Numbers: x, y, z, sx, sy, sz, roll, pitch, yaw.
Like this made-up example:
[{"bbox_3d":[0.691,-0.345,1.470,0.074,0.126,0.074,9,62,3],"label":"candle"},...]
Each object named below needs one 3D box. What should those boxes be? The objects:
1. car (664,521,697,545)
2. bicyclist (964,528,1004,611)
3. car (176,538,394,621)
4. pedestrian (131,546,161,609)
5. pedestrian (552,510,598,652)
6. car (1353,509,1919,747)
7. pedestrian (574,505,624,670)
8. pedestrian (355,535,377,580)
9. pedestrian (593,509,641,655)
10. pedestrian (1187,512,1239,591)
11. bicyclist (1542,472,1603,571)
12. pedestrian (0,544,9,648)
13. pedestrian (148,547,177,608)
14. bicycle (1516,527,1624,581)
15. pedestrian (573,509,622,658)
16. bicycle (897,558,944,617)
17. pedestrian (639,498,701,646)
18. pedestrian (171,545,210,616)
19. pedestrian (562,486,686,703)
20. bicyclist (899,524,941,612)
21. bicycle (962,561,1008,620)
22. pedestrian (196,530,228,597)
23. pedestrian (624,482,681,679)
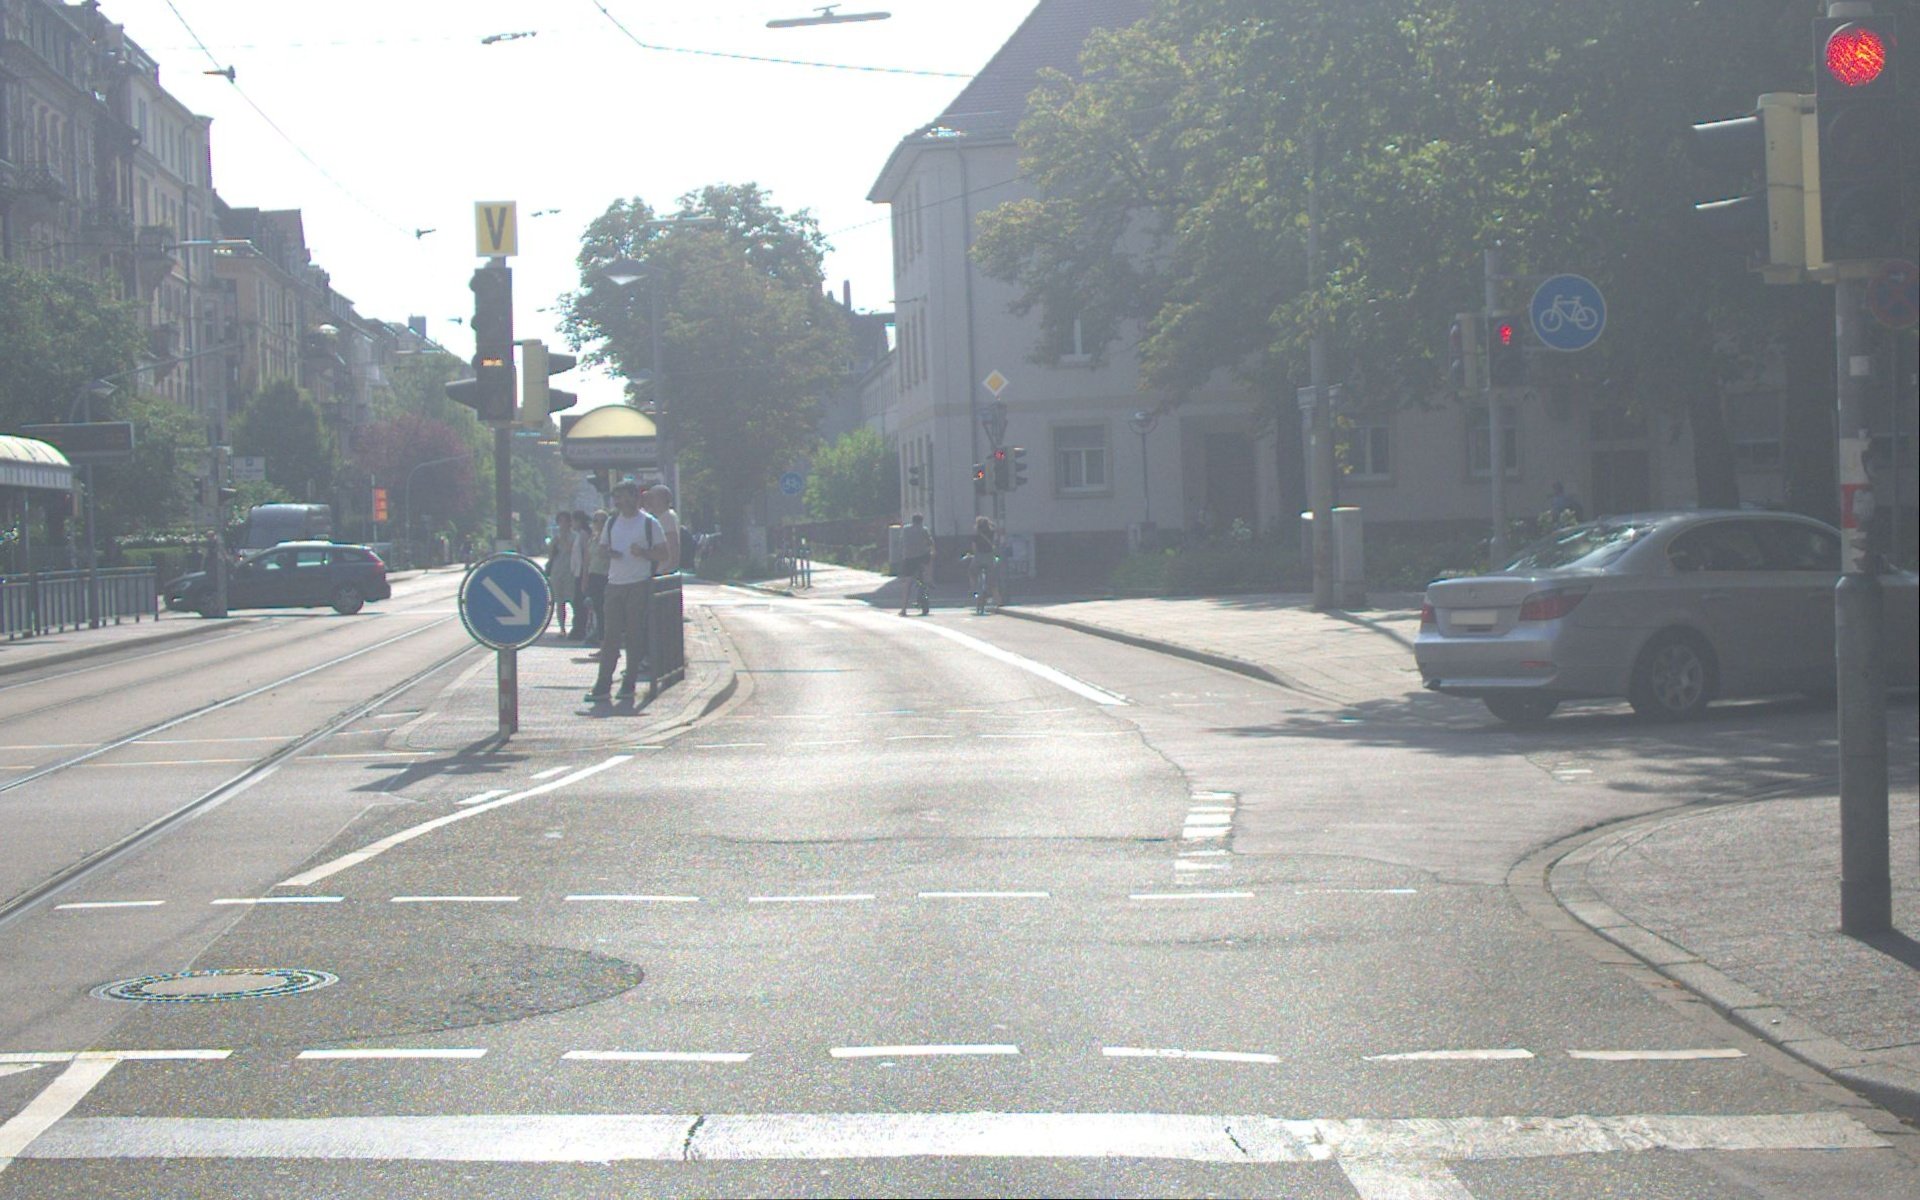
[{"bbox_3d":[-21.074,-5.040,259.426,1.994,1.777,4.000,-1,1,3],"label":"car"},{"bbox_3d":[0.408,-0.534,59.451,0.558,1.412,0.872,-2,1,-6],"label":"bicyclist"},{"bbox_3d":[-13.965,-0.440,71.346,4.321,1.564,2.001,-2,1,-9],"label":"car"},{"bbox_3d":[-22.574,-0.624,95.326,0.750,1.725,0.772,-2,1,-13],"label":"pedestrian"},{"bbox_3d":[-4.848,-0.240,43.330,0.532,1.753,0.545,1,3,-3],"label":"pedestrian"},{"bbox_3d":[5.332,0.152,24.391,4.770,1.461,1.870,-2,0,-27],"label":"car"},{"bbox_3d":[-3.902,-0.138,37.140,0.504,1.753,0.534,1,3,-4],"label":"pedestrian"},{"bbox_3d":[-22.953,-1.638,132.920,0.750,1.725,0.772,-2,1,-13],"label":"pedestrian"},{"bbox_3d":[-4.184,-0.222,41.949,0.543,1.753,0.534,1,3,-4],"label":"pedestrian"},{"bbox_3d":[5.648,-1.078,76.764,0.892,1.734,0.775,-1,1,24],"label":"pedestrian"},{"bbox_3d":[11.634,-1.496,65.307,0.988,1.851,0.492,-1,1,30],"label":"bicyclist"},{"bbox_3d":[-13.009,-0.042,45.234,0.827,1.354,0.776,-2,1,-8],"label":"pedestrian"},{"bbox_3d":[-22.914,-0.649,98.743,0.750,1.725,0.772,-2,1,-13],"label":"pedestrian"},{"bbox_3d":[11.595,-0.878,65.348,1.939,0.974,0.496,-1,1,30],"label":"bicycle"},{"bbox_3d":[-4.335,-0.199,41.130,0.543,1.753,0.534,1,3,-4],"label":"pedestrian"},{"bbox_3d":[-0.694,-0.231,60.002,0.629,0.974,1.770,-2,1,-6],"label":"bicycle"},{"bbox_3d":[-3.489,-0.341,41.368,0.708,1.753,0.534,1,3,-4],"label":"pedestrian"},{"bbox_3d":[-18.997,-0.492,84.864,0.750,1.725,0.772,-2,1,-2],"label":"pedestrian"},{"bbox_3d":[-2.759,-0.059,28.223,0.701,1.719,0.747,3,4,29],"label":"pedestrian"},{"bbox_3d":[-0.699,-0.563,59.993,0.629,1.502,0.679,-2,1,-6],"label":"bicyclist"},{"bbox_3d":[0.427,-0.173,59.446,0.558,0.974,1.857,-2,1,-6],"label":"bicycle"},{"bbox_3d":[-19.558,-0.952,89.840,0.750,1.725,0.772,-2,1,-13],"label":"pedestrian"},{"bbox_3d":[-2.907,-0.188,32.487,0.504,1.827,0.534,1,3,-4],"label":"pedestrian"}]
